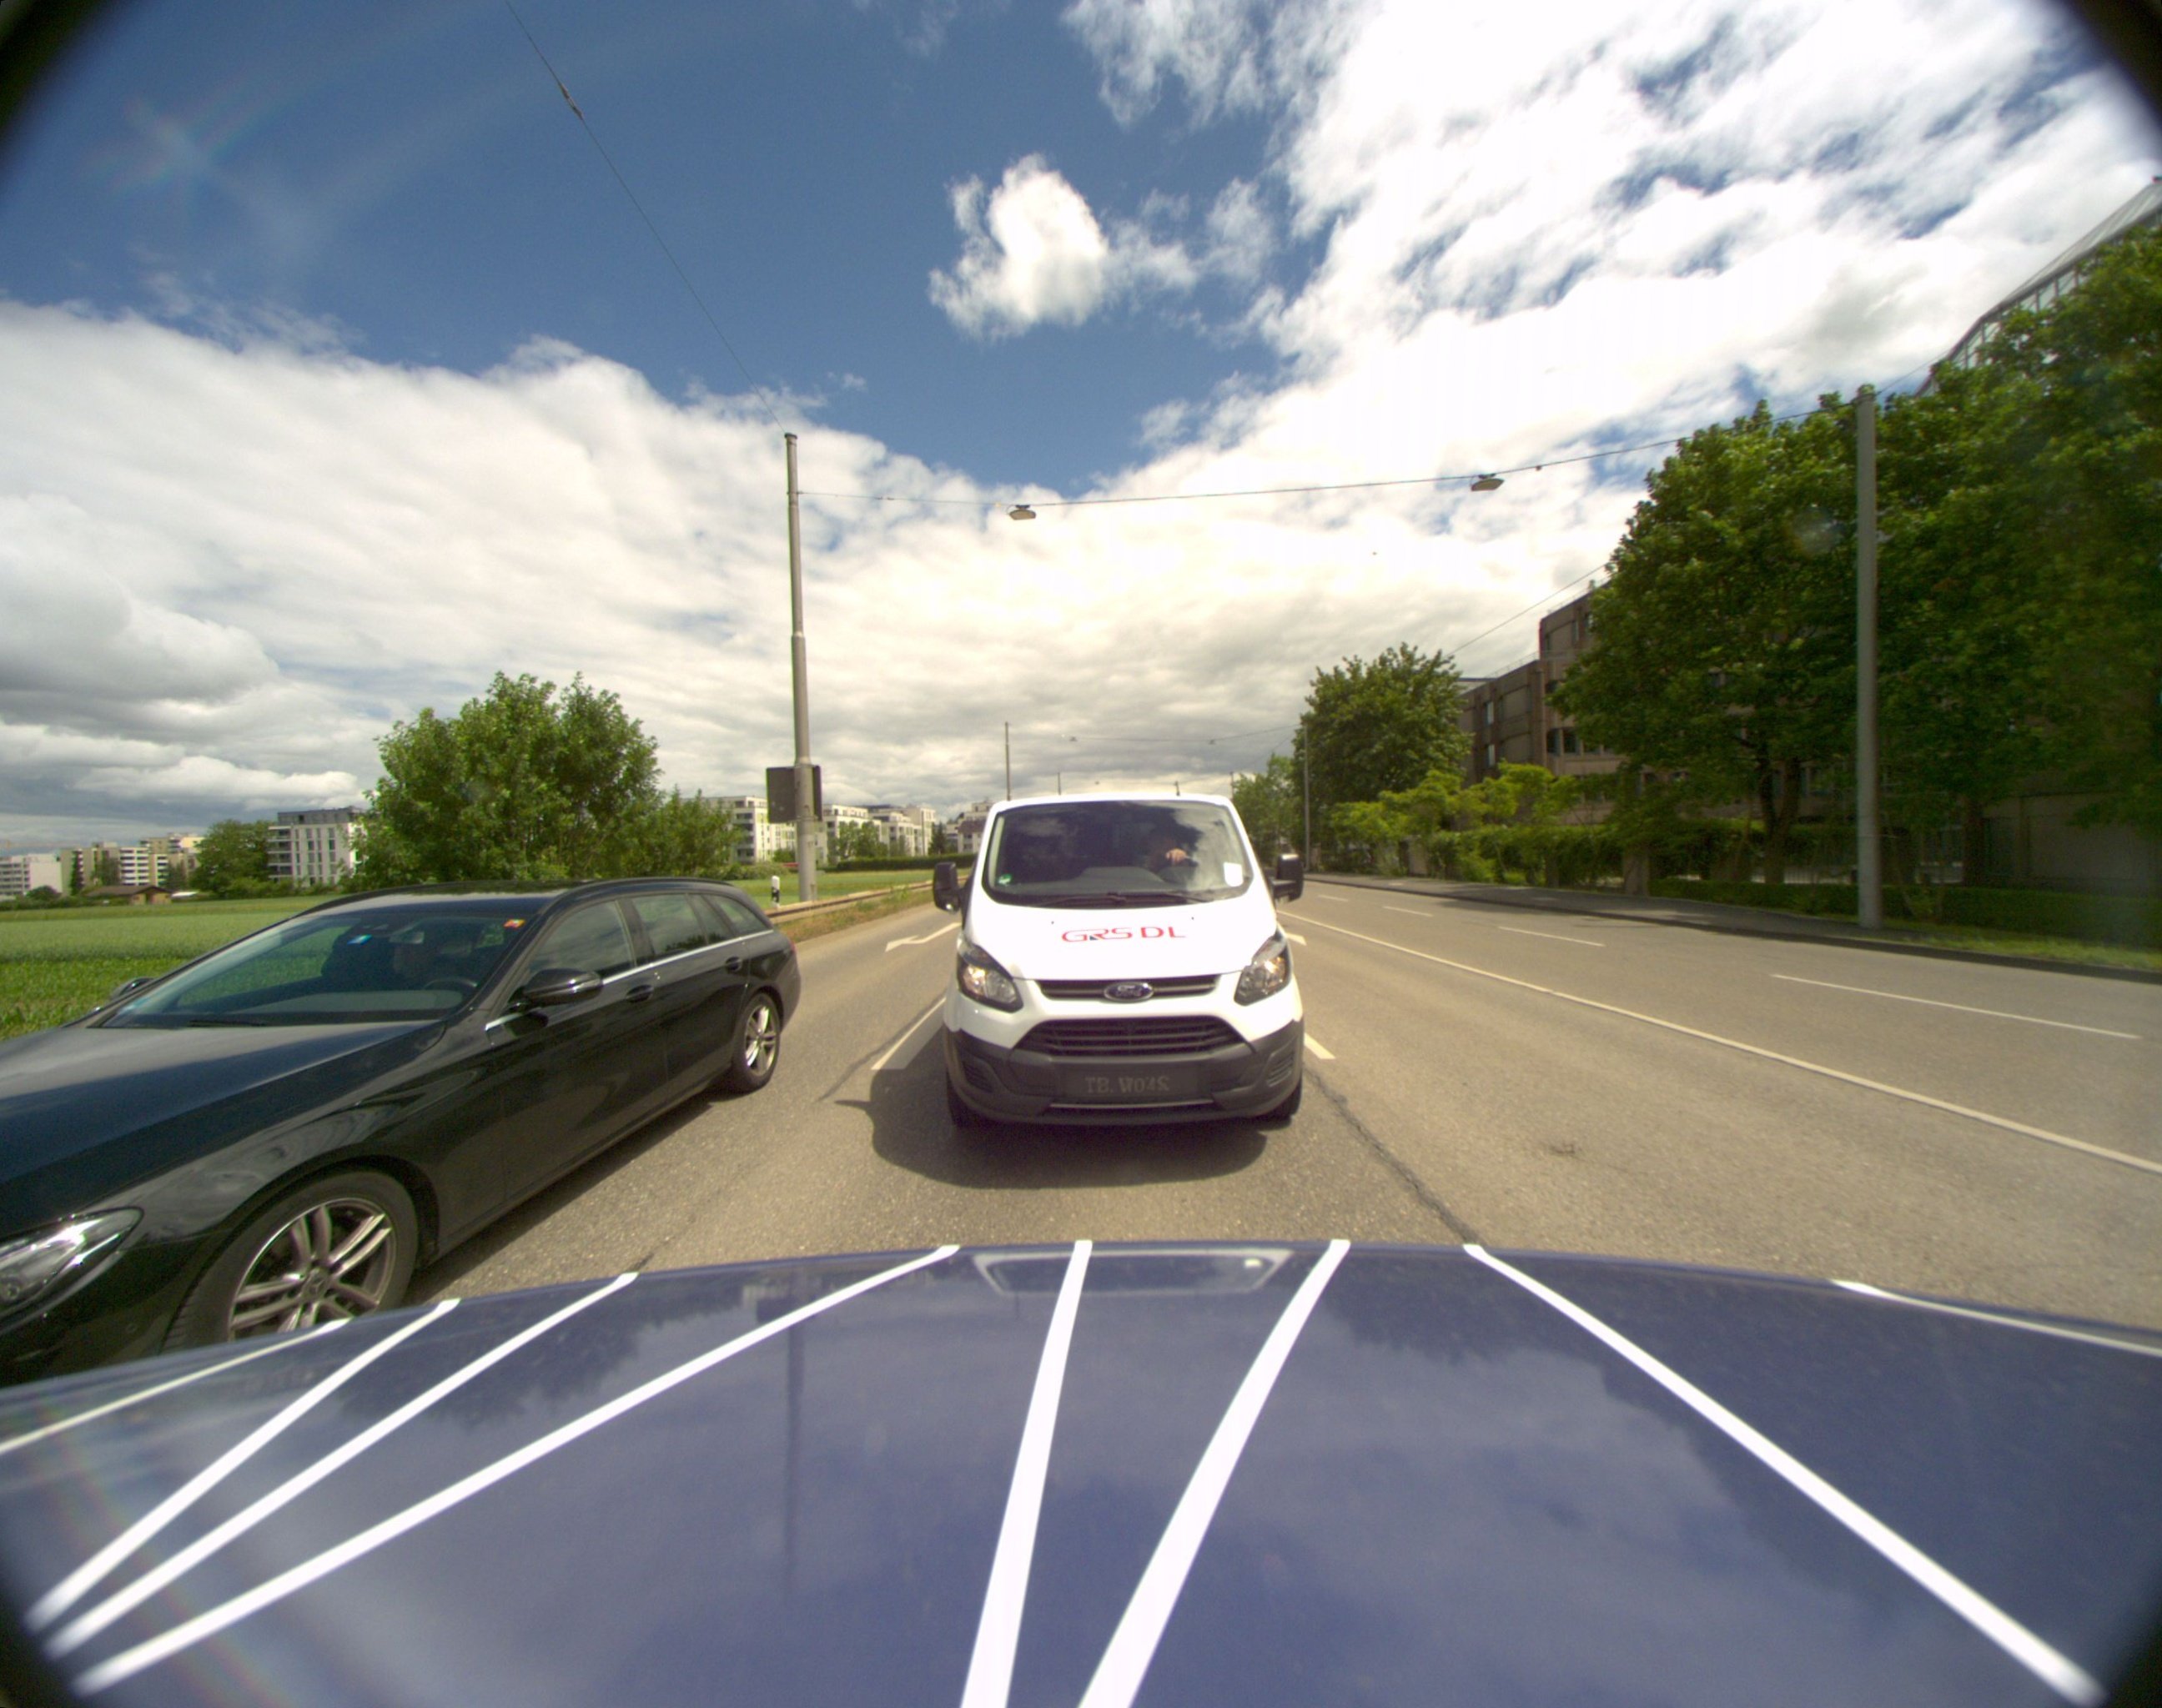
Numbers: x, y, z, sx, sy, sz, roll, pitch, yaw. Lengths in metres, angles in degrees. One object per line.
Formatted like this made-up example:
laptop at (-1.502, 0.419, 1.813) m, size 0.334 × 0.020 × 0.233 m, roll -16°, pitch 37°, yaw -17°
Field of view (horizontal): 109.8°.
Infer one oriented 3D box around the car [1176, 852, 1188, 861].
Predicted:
car at (18.733, 0.468, 141.257) m, size 1.801 × 1.576 × 4.313 m, roll -2°, pitch 1°, yaw 1°

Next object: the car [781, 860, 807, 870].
car at (-58.770, 2.229, 155.779) m, size 4.436 × 2.002 × 2.000 m, roll -1°, pitch 1°, yaw 2°

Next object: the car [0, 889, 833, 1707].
car at (-2.939, 1.006, 3.643) m, size 1.842 × 1.528 × 4.807 m, roll -1°, pitch -1°, yaw 1°

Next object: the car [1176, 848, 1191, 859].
car at (15.498, -0.095, 114.765) m, size 1.872 × 1.605 × 4.571 m, roll -1°, pitch 1°, yaw 3°

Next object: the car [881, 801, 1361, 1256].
car at (0.371, 0.723, 6.172) m, size 1.998 × 1.907 × 5.883 m, roll -1°, pitch 1°, yaw 4°
